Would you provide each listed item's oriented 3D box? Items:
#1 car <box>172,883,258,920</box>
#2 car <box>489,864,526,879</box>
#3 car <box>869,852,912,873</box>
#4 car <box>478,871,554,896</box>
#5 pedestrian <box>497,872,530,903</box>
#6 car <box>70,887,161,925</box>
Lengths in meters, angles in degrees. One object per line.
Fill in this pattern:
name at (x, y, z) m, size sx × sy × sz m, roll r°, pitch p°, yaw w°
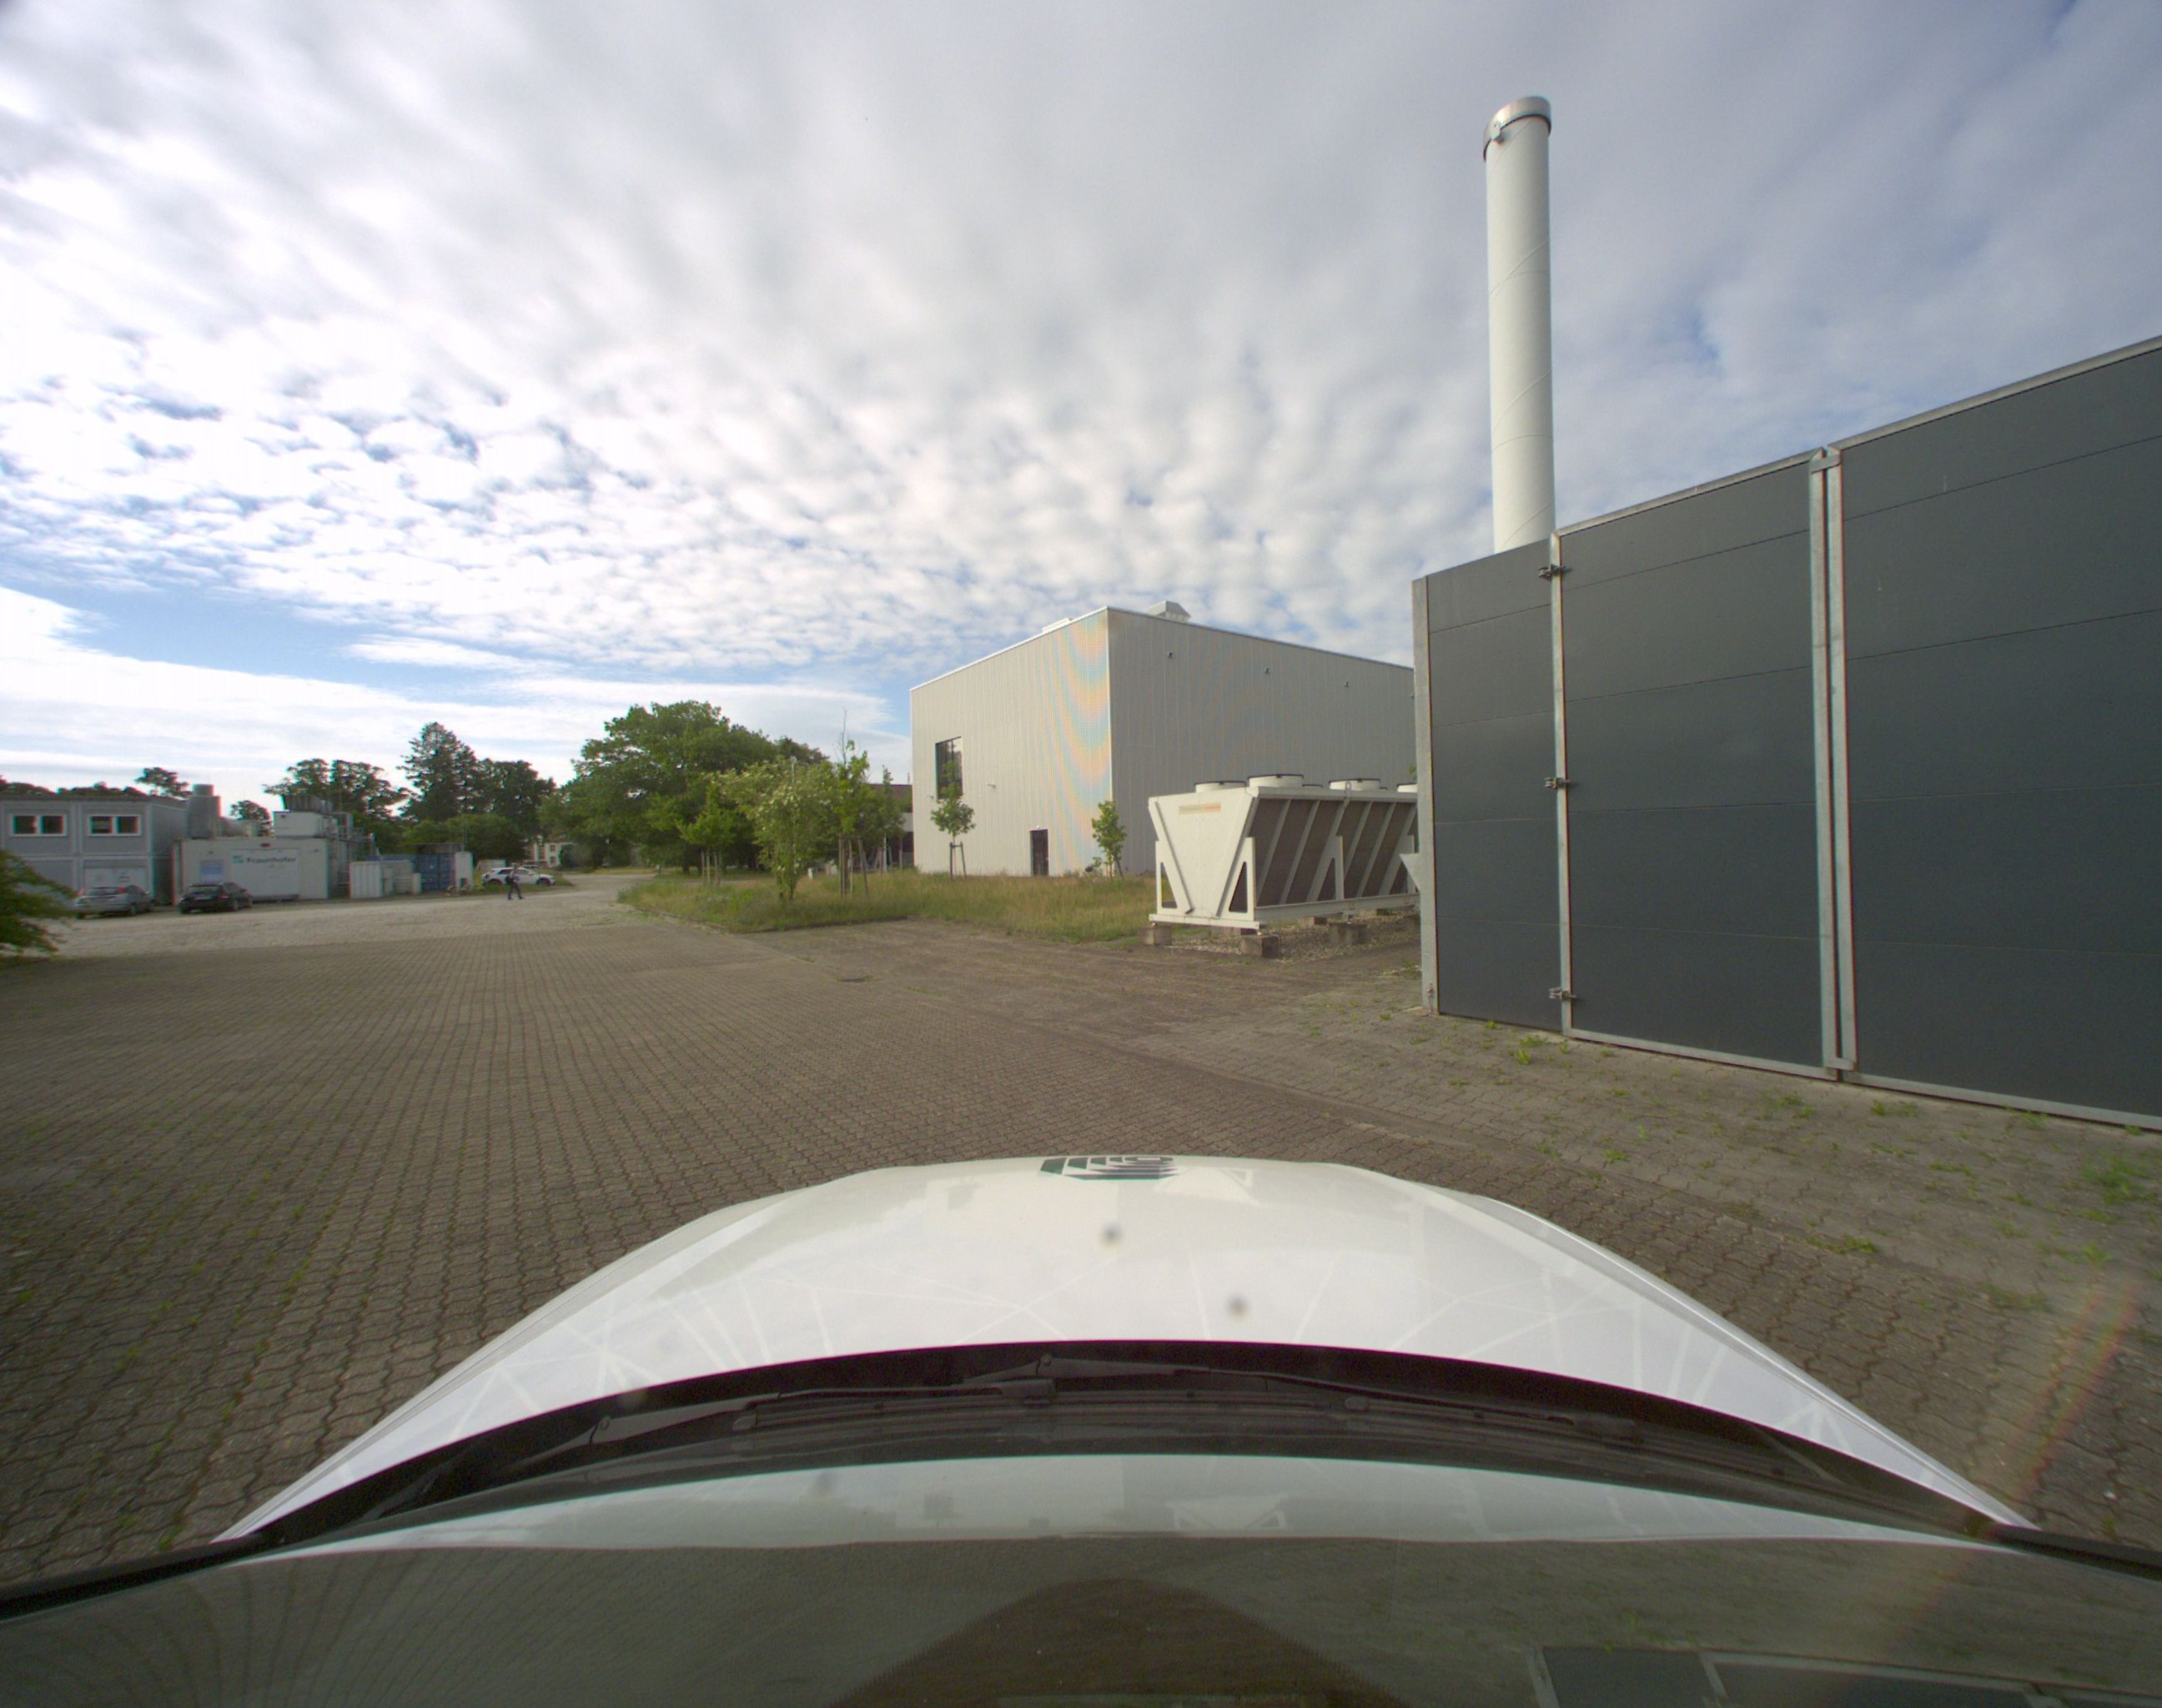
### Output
car at (-42.488, 2.294, 40.079) m, size 2.052 × 1.453 × 4.480 m, roll -2°, pitch 2°, yaw -36°
car at (-100.649, 3.087, 142.901) m, size 5.211 × 2.337 × 1.978 m, roll -2°, pitch 0°, yaw -36°
car at (-19.068, 0.887, 81.357) m, size 2.259 × 2.013 × 5.277 m, roll -2°, pitch 0°, yaw -37°
car at (-42.304, 2.155, 61.096) m, size 4.567 × 1.599 × 1.979 m, roll -2°, pitch 0°, yaw -33°
pedestrian at (-29.803, 1.739, 42.788) m, size 1.076 × 1.556 × 1.070 m, roll -2°, pitch 0°, yaw -12°
car at (-45.297, 2.399, 38.317) m, size 1.922 × 1.475 × 4.001 m, roll -2°, pitch 1°, yaw -38°
